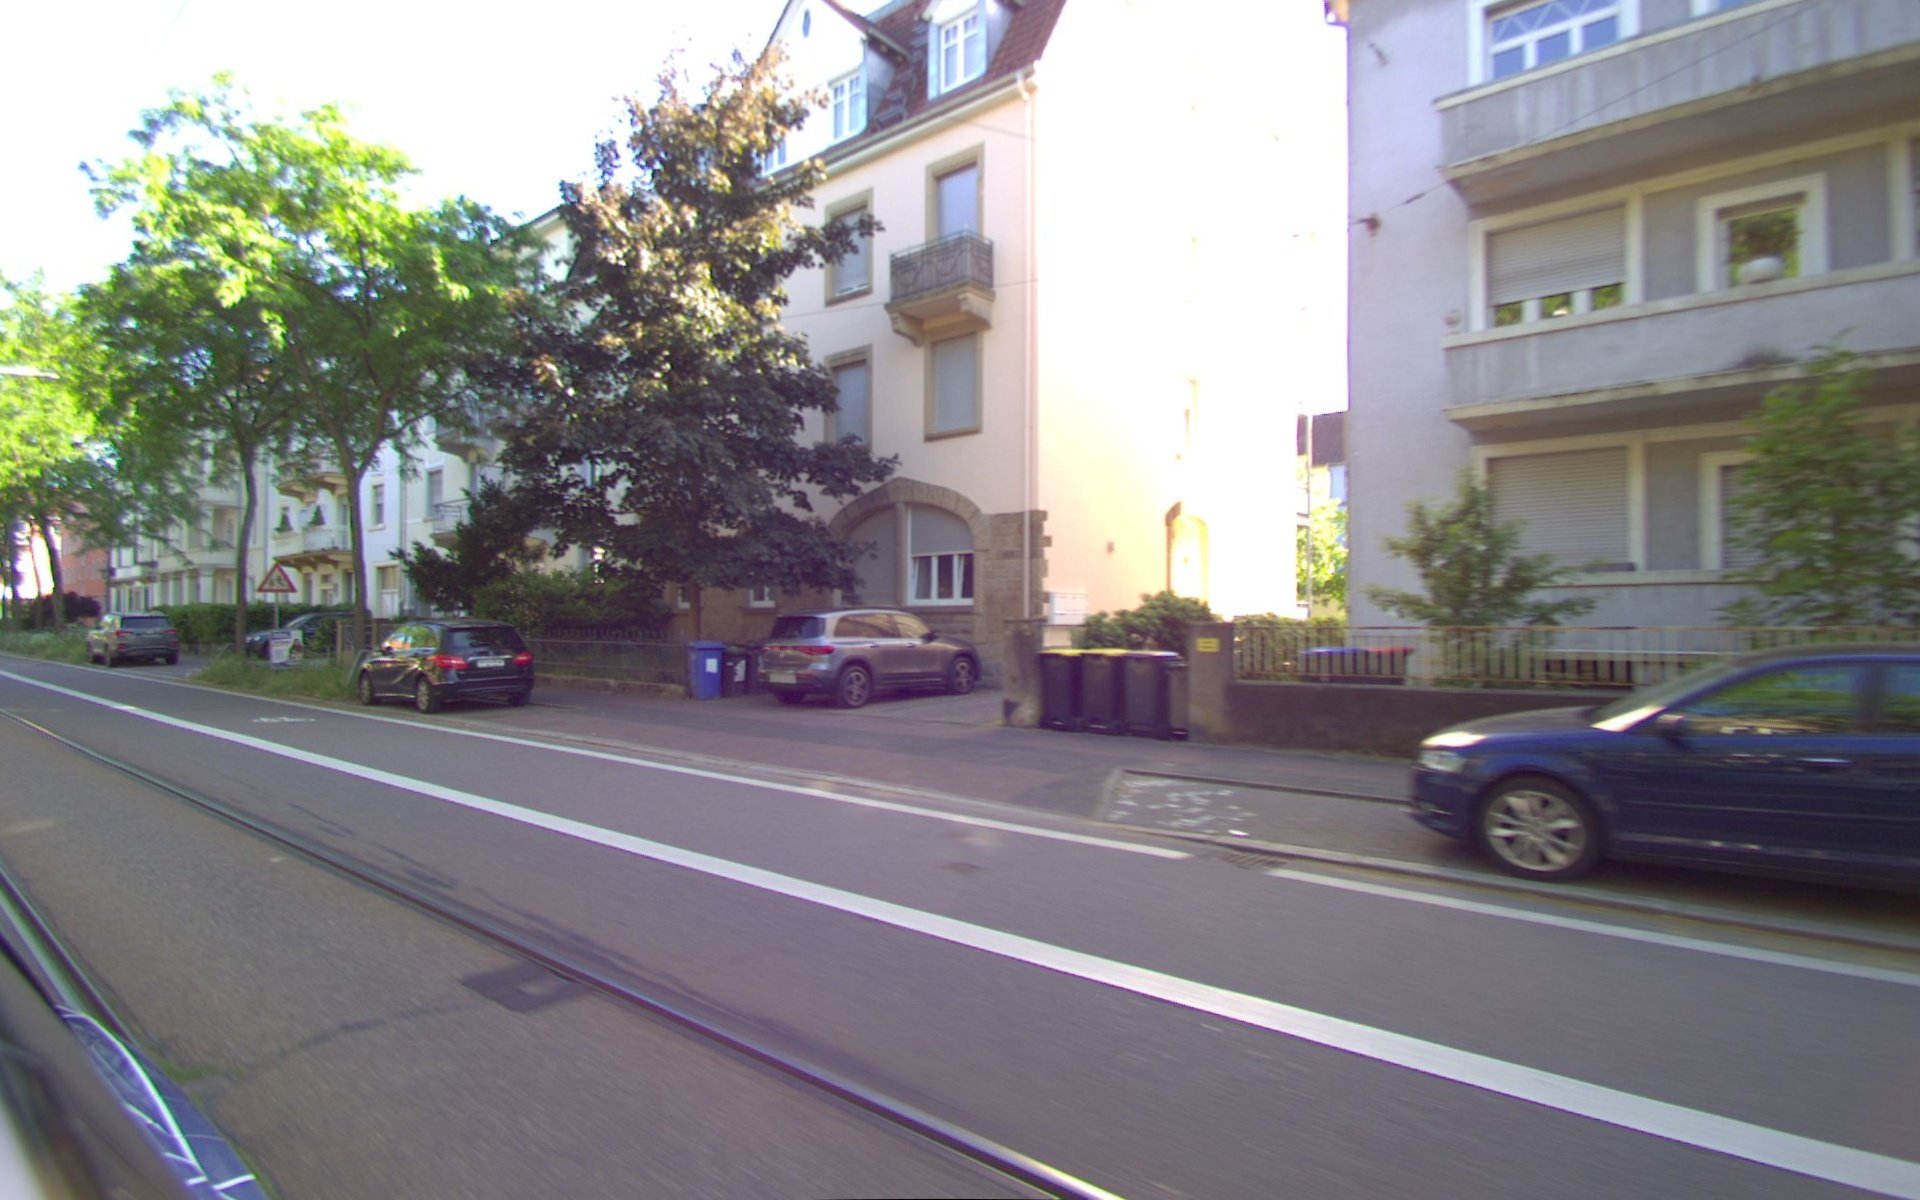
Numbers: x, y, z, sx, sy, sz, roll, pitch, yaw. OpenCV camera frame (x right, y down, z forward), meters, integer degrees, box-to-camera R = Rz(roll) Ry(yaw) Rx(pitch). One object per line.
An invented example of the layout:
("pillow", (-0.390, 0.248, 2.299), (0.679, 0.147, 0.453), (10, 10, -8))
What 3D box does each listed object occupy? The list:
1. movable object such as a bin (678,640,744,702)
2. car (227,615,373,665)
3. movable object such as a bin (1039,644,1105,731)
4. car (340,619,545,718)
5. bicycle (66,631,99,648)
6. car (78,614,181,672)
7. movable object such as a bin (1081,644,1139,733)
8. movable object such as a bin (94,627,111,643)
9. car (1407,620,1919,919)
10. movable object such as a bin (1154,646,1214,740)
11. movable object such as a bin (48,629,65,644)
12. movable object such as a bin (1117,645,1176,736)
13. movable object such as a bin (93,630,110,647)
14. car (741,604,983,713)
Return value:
("movable object such as a bin", (-4.556, 1.287, 18.552), (0.813, 1.074, 0.866), (-1, -2, 41))
("car", (-24.793, 1.447, 38.107), (1.952, 1.673, 4.255), (-1, 0, 42))
("movable object such as a bin", (1.450, 1.122, 13.162), (0.670, 1.074, 0.535), (-1, -2, 41))
("car", (-9.452, 1.143, 18.338), (4.483, 1.553, 1.758), (-1, 0, 41))
("bicycle", (-55.110, 2.482, 63.567), (0.550, 1.004, 1.863), (0, -1, -3))
("car", (-28.826, 1.442, 35.085), (4.766, 1.837, 1.852), (-1, -1, 39))
("movable object such as a bin", (1.898, 1.100, 12.776), (0.510, 1.074, 0.541), (-1, -2, 41))
("movable object such as a bin", (-59.414, 2.417, 70.139), (0.895, 1.122, 0.730), (-1, -2, 41))
("car", (5.049, 0.841, 5.707), (4.330, 1.417, 1.688), (-1, 0, 40))
("movable object such as a bin", (2.678, 1.094, 12.089), (0.510, 1.074, 0.531), (-1, -2, 41))
("movable object such as a bin", (-60.967, 2.455, 68.287), (0.895, 1.049, 0.730), (-1, -2, 41))
("movable object such as a bin", (2.290, 1.092, 12.434), (0.510, 1.074, 0.541), (-1, -2, 41))
("movable object such as a bin", (-46.746, 2.102, 55.103), (0.739, 0.928, 0.621), (-1, 0, 41))
("car", (-1.626, 0.929, 18.026), (1.981, 1.671, 4.125), (-1, -1, 39))
